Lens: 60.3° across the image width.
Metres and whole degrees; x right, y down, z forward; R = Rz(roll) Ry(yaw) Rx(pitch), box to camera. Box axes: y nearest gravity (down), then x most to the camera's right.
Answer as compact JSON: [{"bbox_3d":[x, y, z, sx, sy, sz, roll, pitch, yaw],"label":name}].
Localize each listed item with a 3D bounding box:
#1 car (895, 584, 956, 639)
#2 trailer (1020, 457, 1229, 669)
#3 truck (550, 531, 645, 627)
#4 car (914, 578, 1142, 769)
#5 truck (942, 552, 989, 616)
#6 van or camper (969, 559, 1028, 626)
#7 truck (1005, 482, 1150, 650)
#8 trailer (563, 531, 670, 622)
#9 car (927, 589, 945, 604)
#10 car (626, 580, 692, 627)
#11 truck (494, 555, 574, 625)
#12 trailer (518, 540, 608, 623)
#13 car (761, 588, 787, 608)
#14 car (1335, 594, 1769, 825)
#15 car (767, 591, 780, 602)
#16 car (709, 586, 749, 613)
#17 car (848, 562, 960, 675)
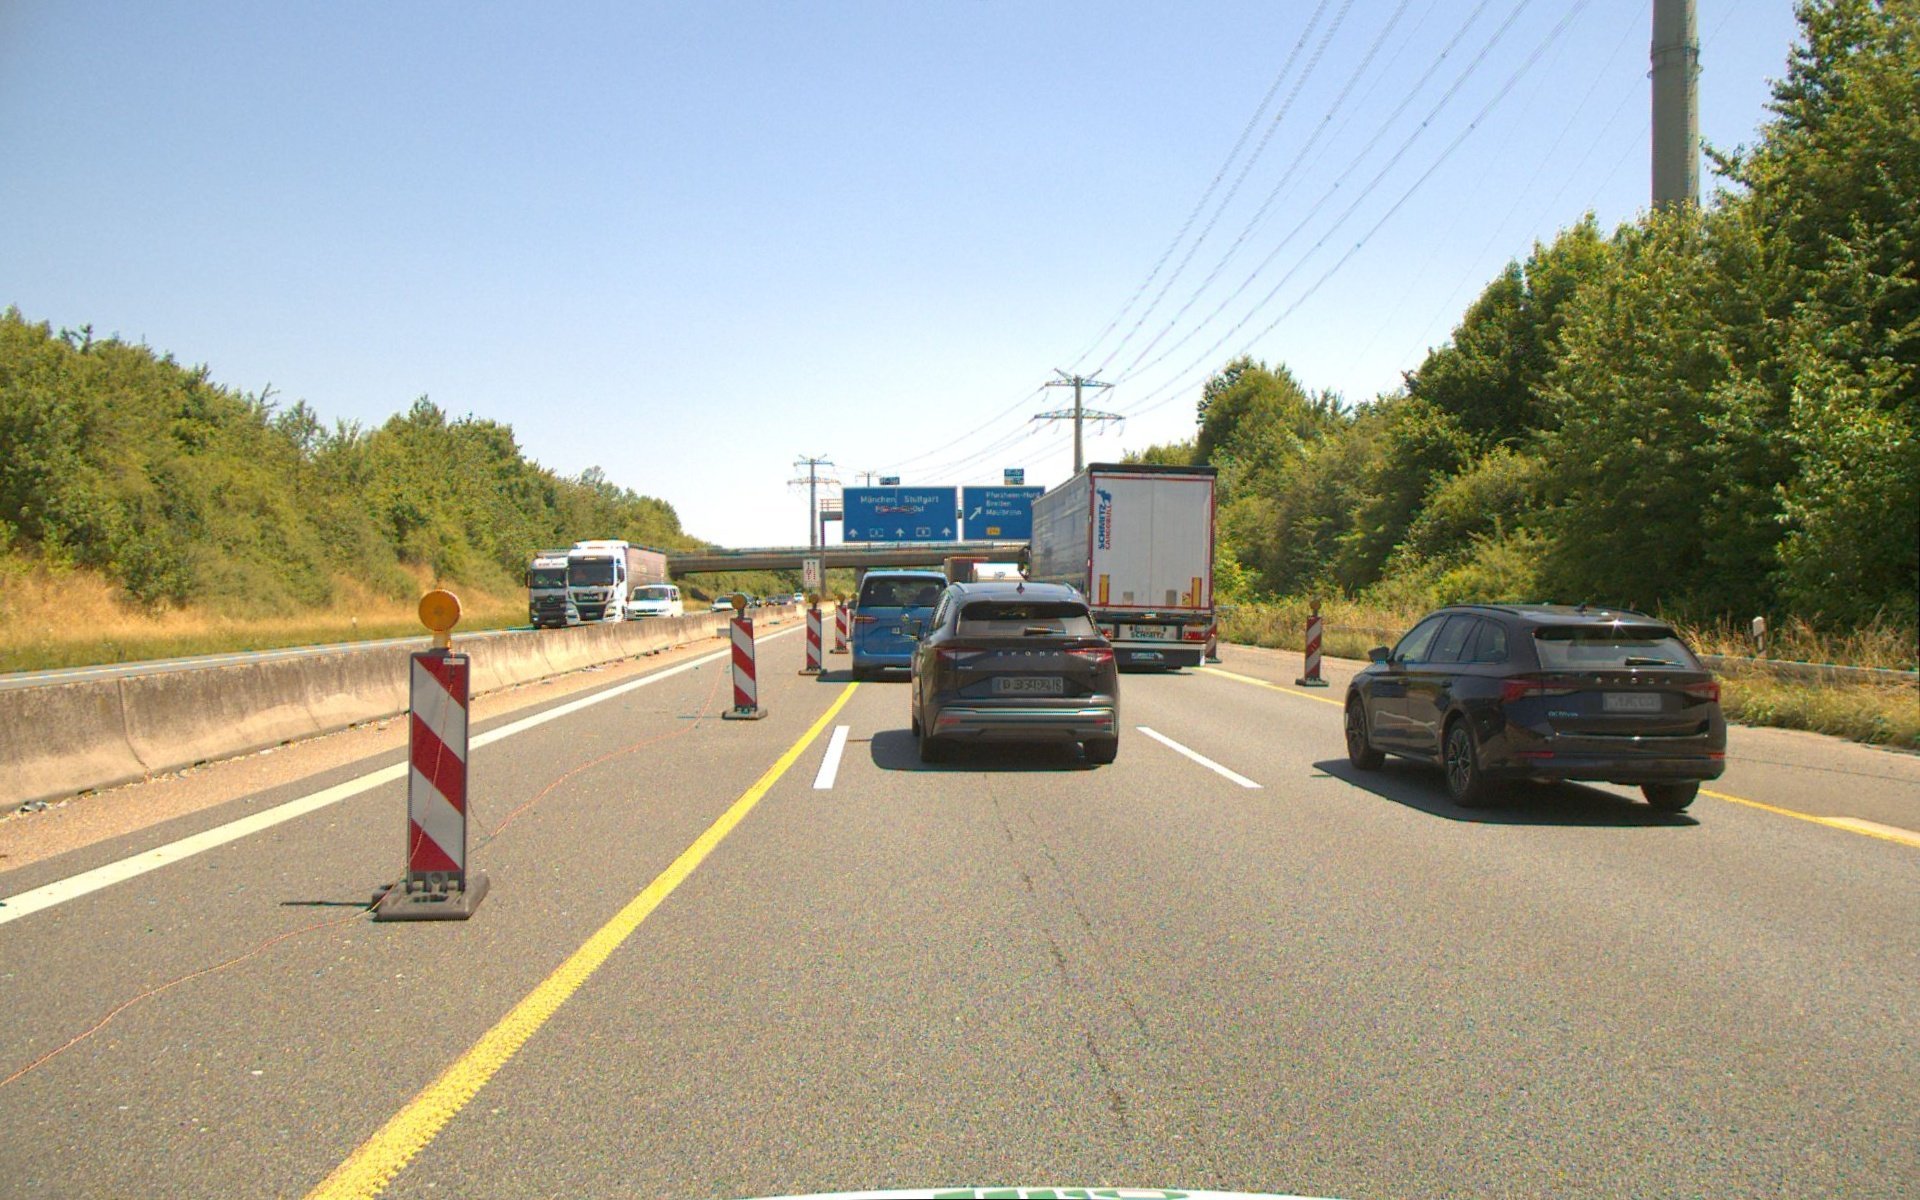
[{"bbox_3d":[-1.172,0.338,54.340,1.858,1.535,4.441,2,2,-3],"label":"car"},{"bbox_3d":[3.424,-0.764,37.952,3.004,4.113,11.480,0,0,-3],"label":"trailer"},{"bbox_3d":[-17.242,-0.975,79.117,3.100,4.298,7.411,-1,0,-2],"label":"truck"},{"bbox_3d":[0.521,0.599,16.281,1.858,1.620,4.440,0,1,-3],"label":"car"},{"bbox_3d":[0.312,-1.089,117.446,3.015,4.219,13.052,1,0,-1],"label":"truck"},{"bbox_3d":[1.801,-0.362,80.380,2.534,3.020,6.083,3,0,-1],"label":"van or camper"},{"bbox_3d":[3.043,-0.872,45.025,2.964,4.158,7.790,0,0,-3],"label":"truck"},{"bbox_3d":[-17.487,-1.172,85.329,3.097,4.253,13.678,-1,0,-2],"label":"trailer"},{"bbox_3d":[-2.783,-0.381,191.710,1.858,1.535,4.441,2,2,-3],"label":"car"},{"bbox_3d":[-12.552,0.124,69.192,1.829,1.824,5.454,-1,0,-1],"label":"car"},{"bbox_3d":[-21.425,-0.513,83.557,2.415,3.345,6.921,-1,0,-2],"label":"truck"},{"bbox_3d":[-21.735,-0.994,91.243,2.430,4.253,12.080,-1,0,-2],"label":"trailer"},{"bbox_3d":[-16.312,-0.207,145.085,1.804,1.744,4.395,-1,0,-1],"label":"car"},{"bbox_3d":[4.491,0.731,13.343,1.743,1.515,4.462,1,0,-2],"label":"car"},{"bbox_3d":[-27.474,-0.494,243.697,1.469,1.575,3.999,-1,0,-2],"label":"car"},{"bbox_3d":[-13.539,-0.043,97.154,1.726,1.497,4.633,-1,0,0],"label":"car"},{"bbox_3d":[-1.051,0.336,30.262,1.858,1.874,4.439,1,-1,-3],"label":"car"}]
